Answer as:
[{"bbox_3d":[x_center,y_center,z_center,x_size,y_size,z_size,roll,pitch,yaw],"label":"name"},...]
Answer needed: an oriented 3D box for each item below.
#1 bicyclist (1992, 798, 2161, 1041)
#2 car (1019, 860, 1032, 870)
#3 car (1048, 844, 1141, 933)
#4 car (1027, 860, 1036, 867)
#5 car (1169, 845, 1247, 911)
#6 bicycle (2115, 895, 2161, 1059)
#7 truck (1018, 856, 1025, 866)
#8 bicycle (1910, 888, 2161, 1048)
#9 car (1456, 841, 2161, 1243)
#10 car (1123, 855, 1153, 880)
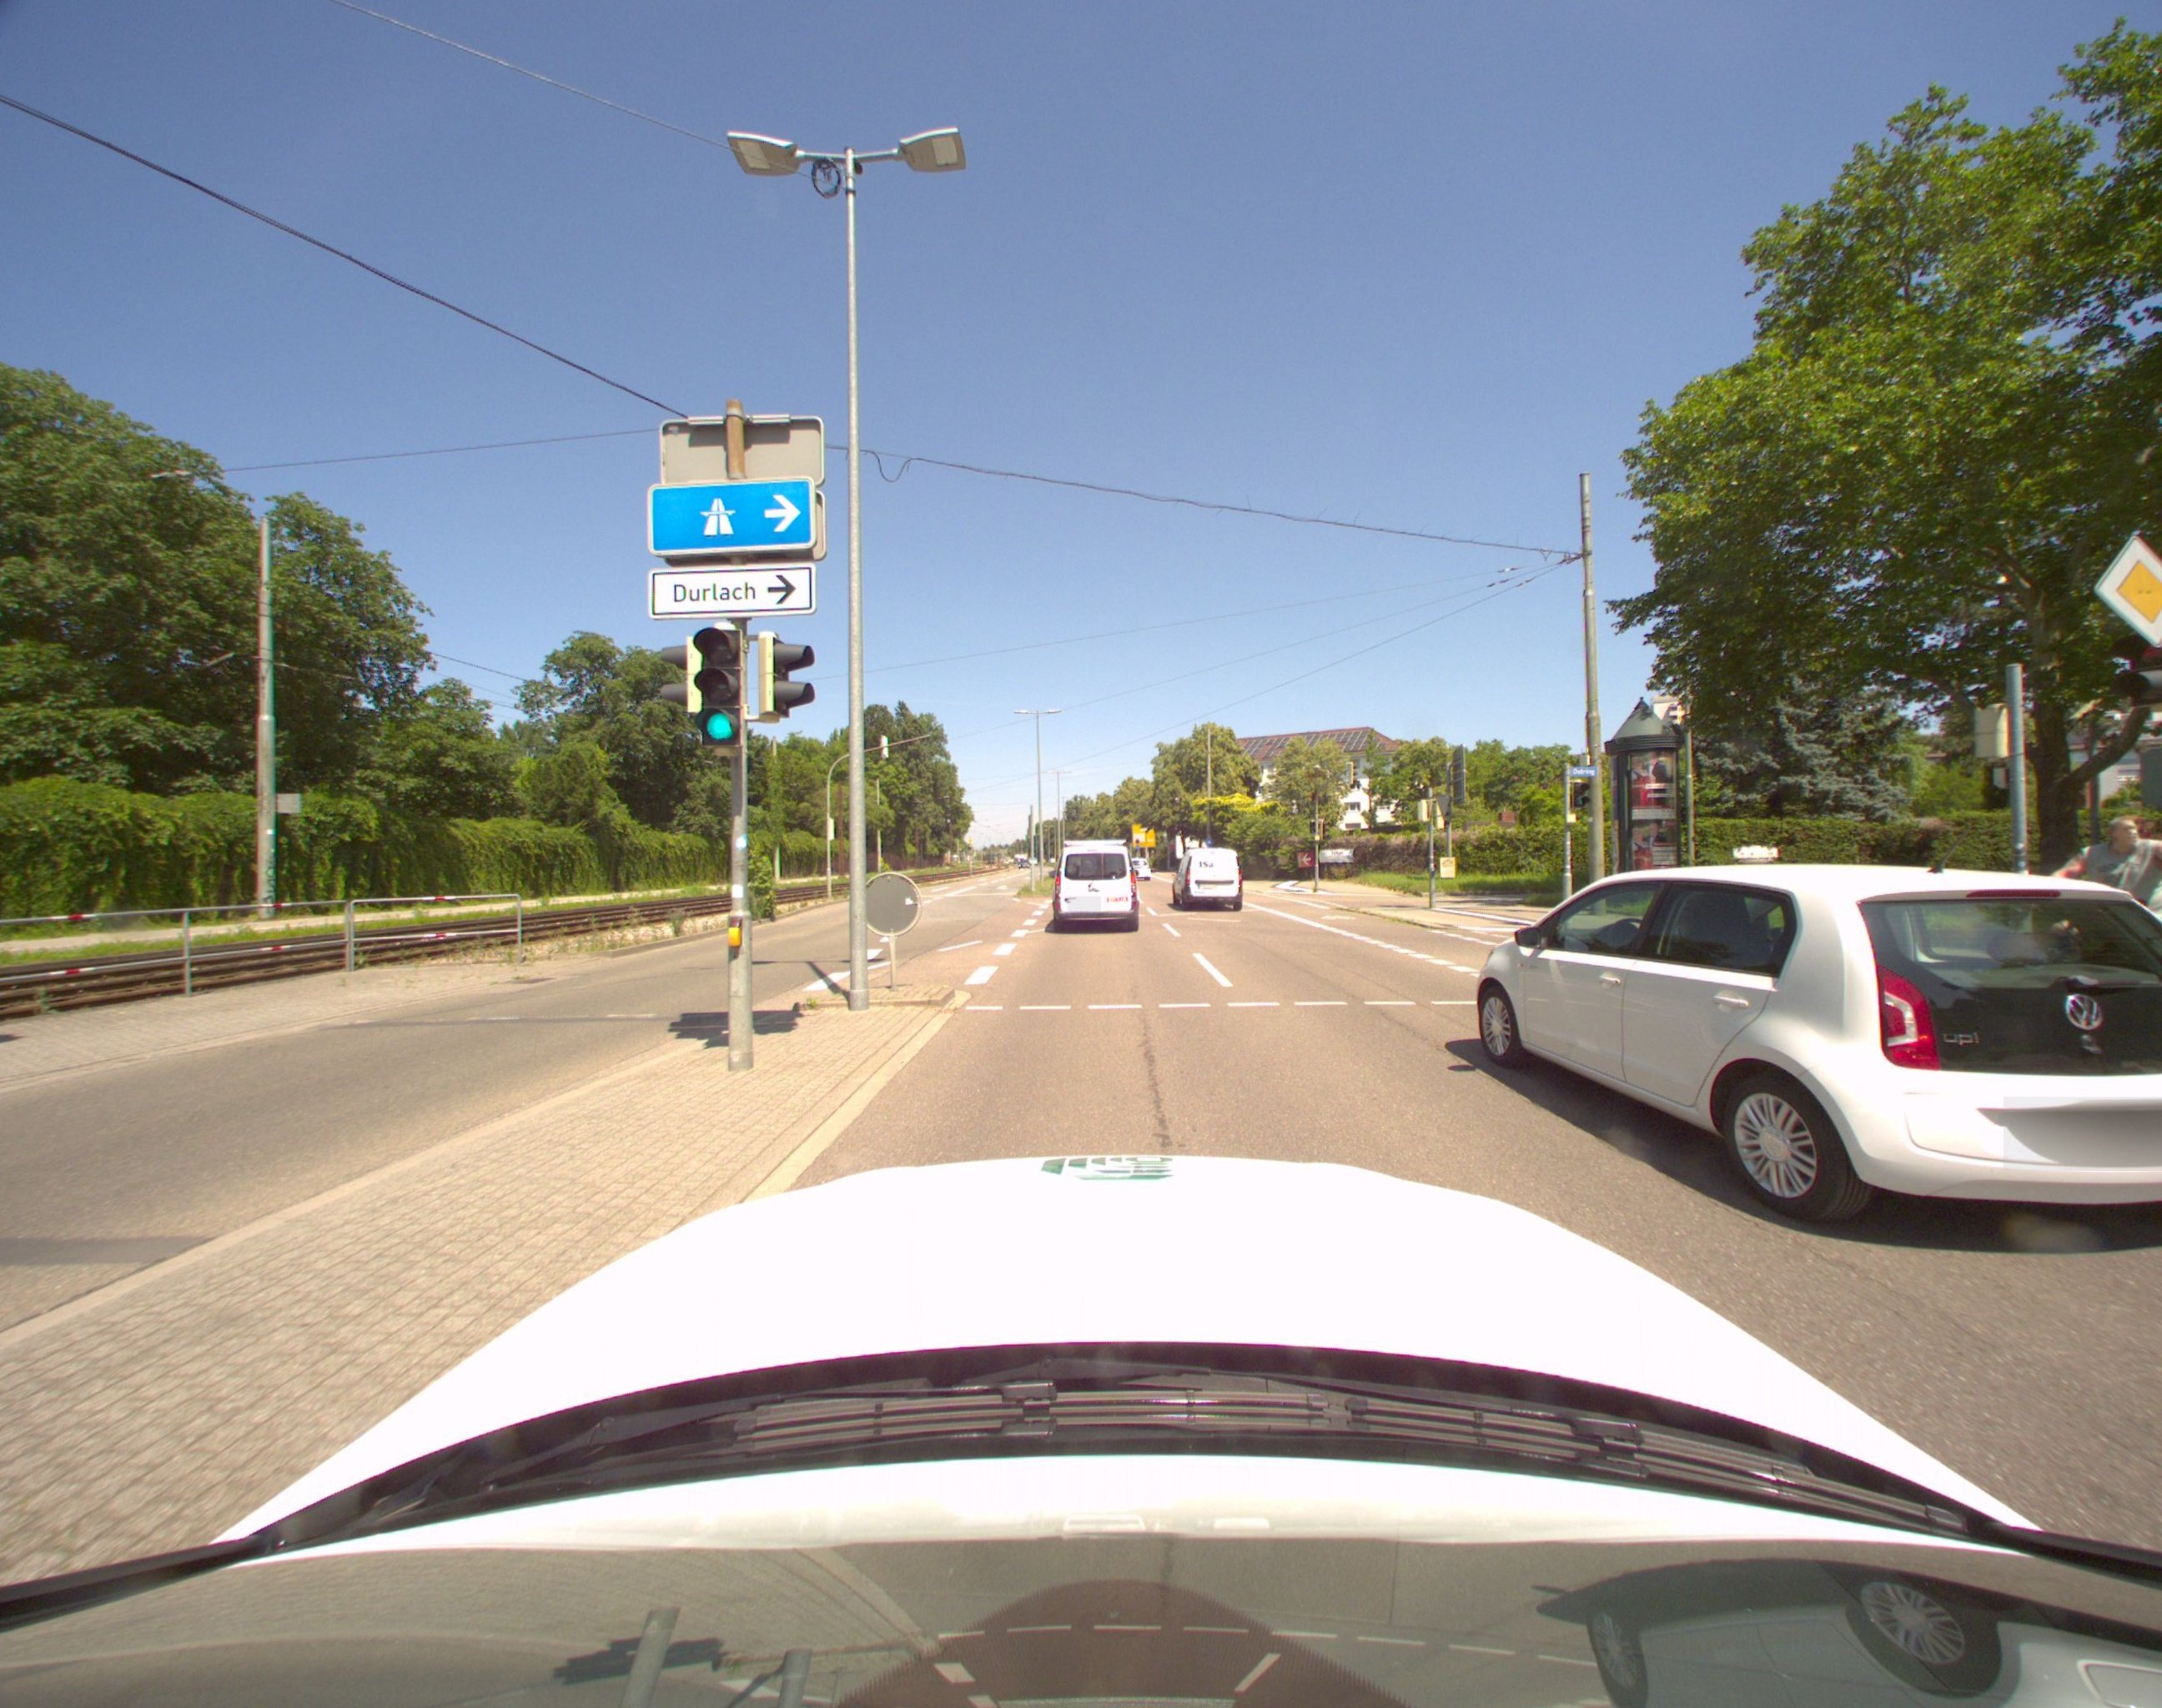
[{"bbox_3d":[8.138,0.484,6.468,0.720,1.788,0.978,0,-1,6],"label":"bicyclist"},{"bbox_3d":[-9.155,1.799,133.857,1.690,1.512,4.068,-1,0,3],"label":"car"},{"bbox_3d":[0.300,0.682,18.182,1.815,1.739,4.397,0,0,1],"label":"car"},{"bbox_3d":[-12.324,2.397,204.833,1.987,1.816,3.999,-1,0,0],"label":"car"},{"bbox_3d":[3.722,0.678,24.487,1.722,1.788,4.063,1,0,0],"label":"car"},{"bbox_3d":[8.408,0.859,5.375,1.856,1.125,0.897,0,-1,8],"label":"bicycle"},{"bbox_3d":[-18.321,2.151,250.753,1.990,3.213,5.303,-1,0,-4],"label":"truck"},{"bbox_3d":[8.105,0.868,6.512,1.940,1.159,0.896,0,-1,6],"label":"bicycle"},{"bbox_3d":[3.713,0.677,4.679,1.603,1.447,3.437,1,0,1],"label":"car"},{"bbox_3d":[3.911,0.894,56.173,1.828,1.568,4.001,1,0,1],"label":"car"}]
